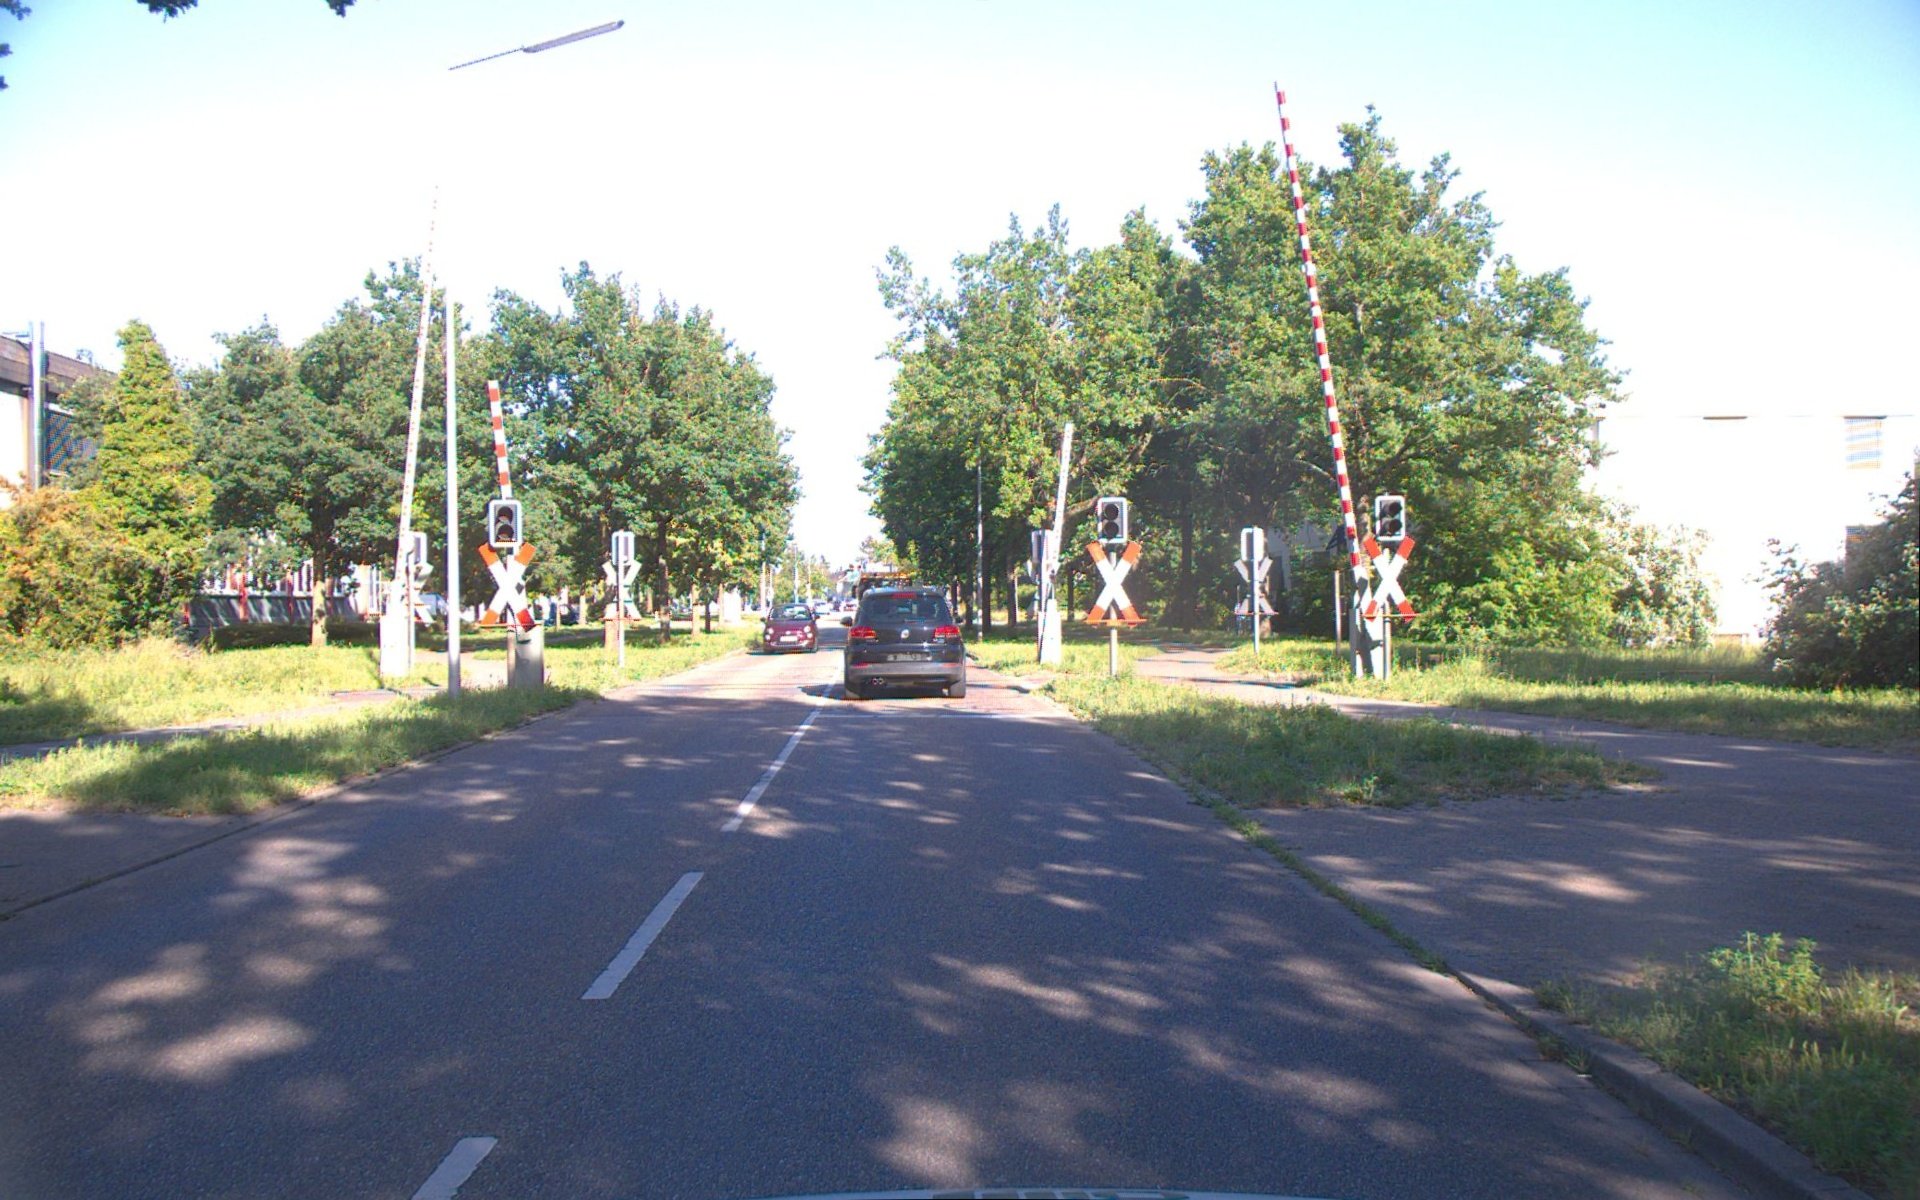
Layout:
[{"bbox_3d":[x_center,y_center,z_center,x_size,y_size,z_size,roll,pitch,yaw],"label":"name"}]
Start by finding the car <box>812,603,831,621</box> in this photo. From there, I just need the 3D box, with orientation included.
[{"bbox_3d":[-16.232,1.401,194.261,1.956,2.049,3.992,1,0,-8],"label":"car"}]

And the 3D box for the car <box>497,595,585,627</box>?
[{"bbox_3d":[-28.431,0.744,112.285,5.690,2.049,1.993,1,0,-13],"label":"car"}]

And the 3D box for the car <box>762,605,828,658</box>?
[{"bbox_3d":[-5.031,0.921,50.804,1.533,1.531,4.000,1,0,1],"label":"car"}]

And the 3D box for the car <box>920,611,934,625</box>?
[{"bbox_3d":[-3.557,1.881,175.966,1.423,1.430,2.854,1,0,-2],"label":"car"}]

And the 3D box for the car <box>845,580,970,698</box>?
[{"bbox_3d":[-0.779,0.564,25.658,1.746,1.662,3.999,1,0,-1],"label":"car"}]

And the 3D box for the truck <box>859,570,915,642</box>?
[{"bbox_3d":[-3.466,0.270,80.123,2.461,3.300,8.150,-1,0,-1],"label":"truck"}]
